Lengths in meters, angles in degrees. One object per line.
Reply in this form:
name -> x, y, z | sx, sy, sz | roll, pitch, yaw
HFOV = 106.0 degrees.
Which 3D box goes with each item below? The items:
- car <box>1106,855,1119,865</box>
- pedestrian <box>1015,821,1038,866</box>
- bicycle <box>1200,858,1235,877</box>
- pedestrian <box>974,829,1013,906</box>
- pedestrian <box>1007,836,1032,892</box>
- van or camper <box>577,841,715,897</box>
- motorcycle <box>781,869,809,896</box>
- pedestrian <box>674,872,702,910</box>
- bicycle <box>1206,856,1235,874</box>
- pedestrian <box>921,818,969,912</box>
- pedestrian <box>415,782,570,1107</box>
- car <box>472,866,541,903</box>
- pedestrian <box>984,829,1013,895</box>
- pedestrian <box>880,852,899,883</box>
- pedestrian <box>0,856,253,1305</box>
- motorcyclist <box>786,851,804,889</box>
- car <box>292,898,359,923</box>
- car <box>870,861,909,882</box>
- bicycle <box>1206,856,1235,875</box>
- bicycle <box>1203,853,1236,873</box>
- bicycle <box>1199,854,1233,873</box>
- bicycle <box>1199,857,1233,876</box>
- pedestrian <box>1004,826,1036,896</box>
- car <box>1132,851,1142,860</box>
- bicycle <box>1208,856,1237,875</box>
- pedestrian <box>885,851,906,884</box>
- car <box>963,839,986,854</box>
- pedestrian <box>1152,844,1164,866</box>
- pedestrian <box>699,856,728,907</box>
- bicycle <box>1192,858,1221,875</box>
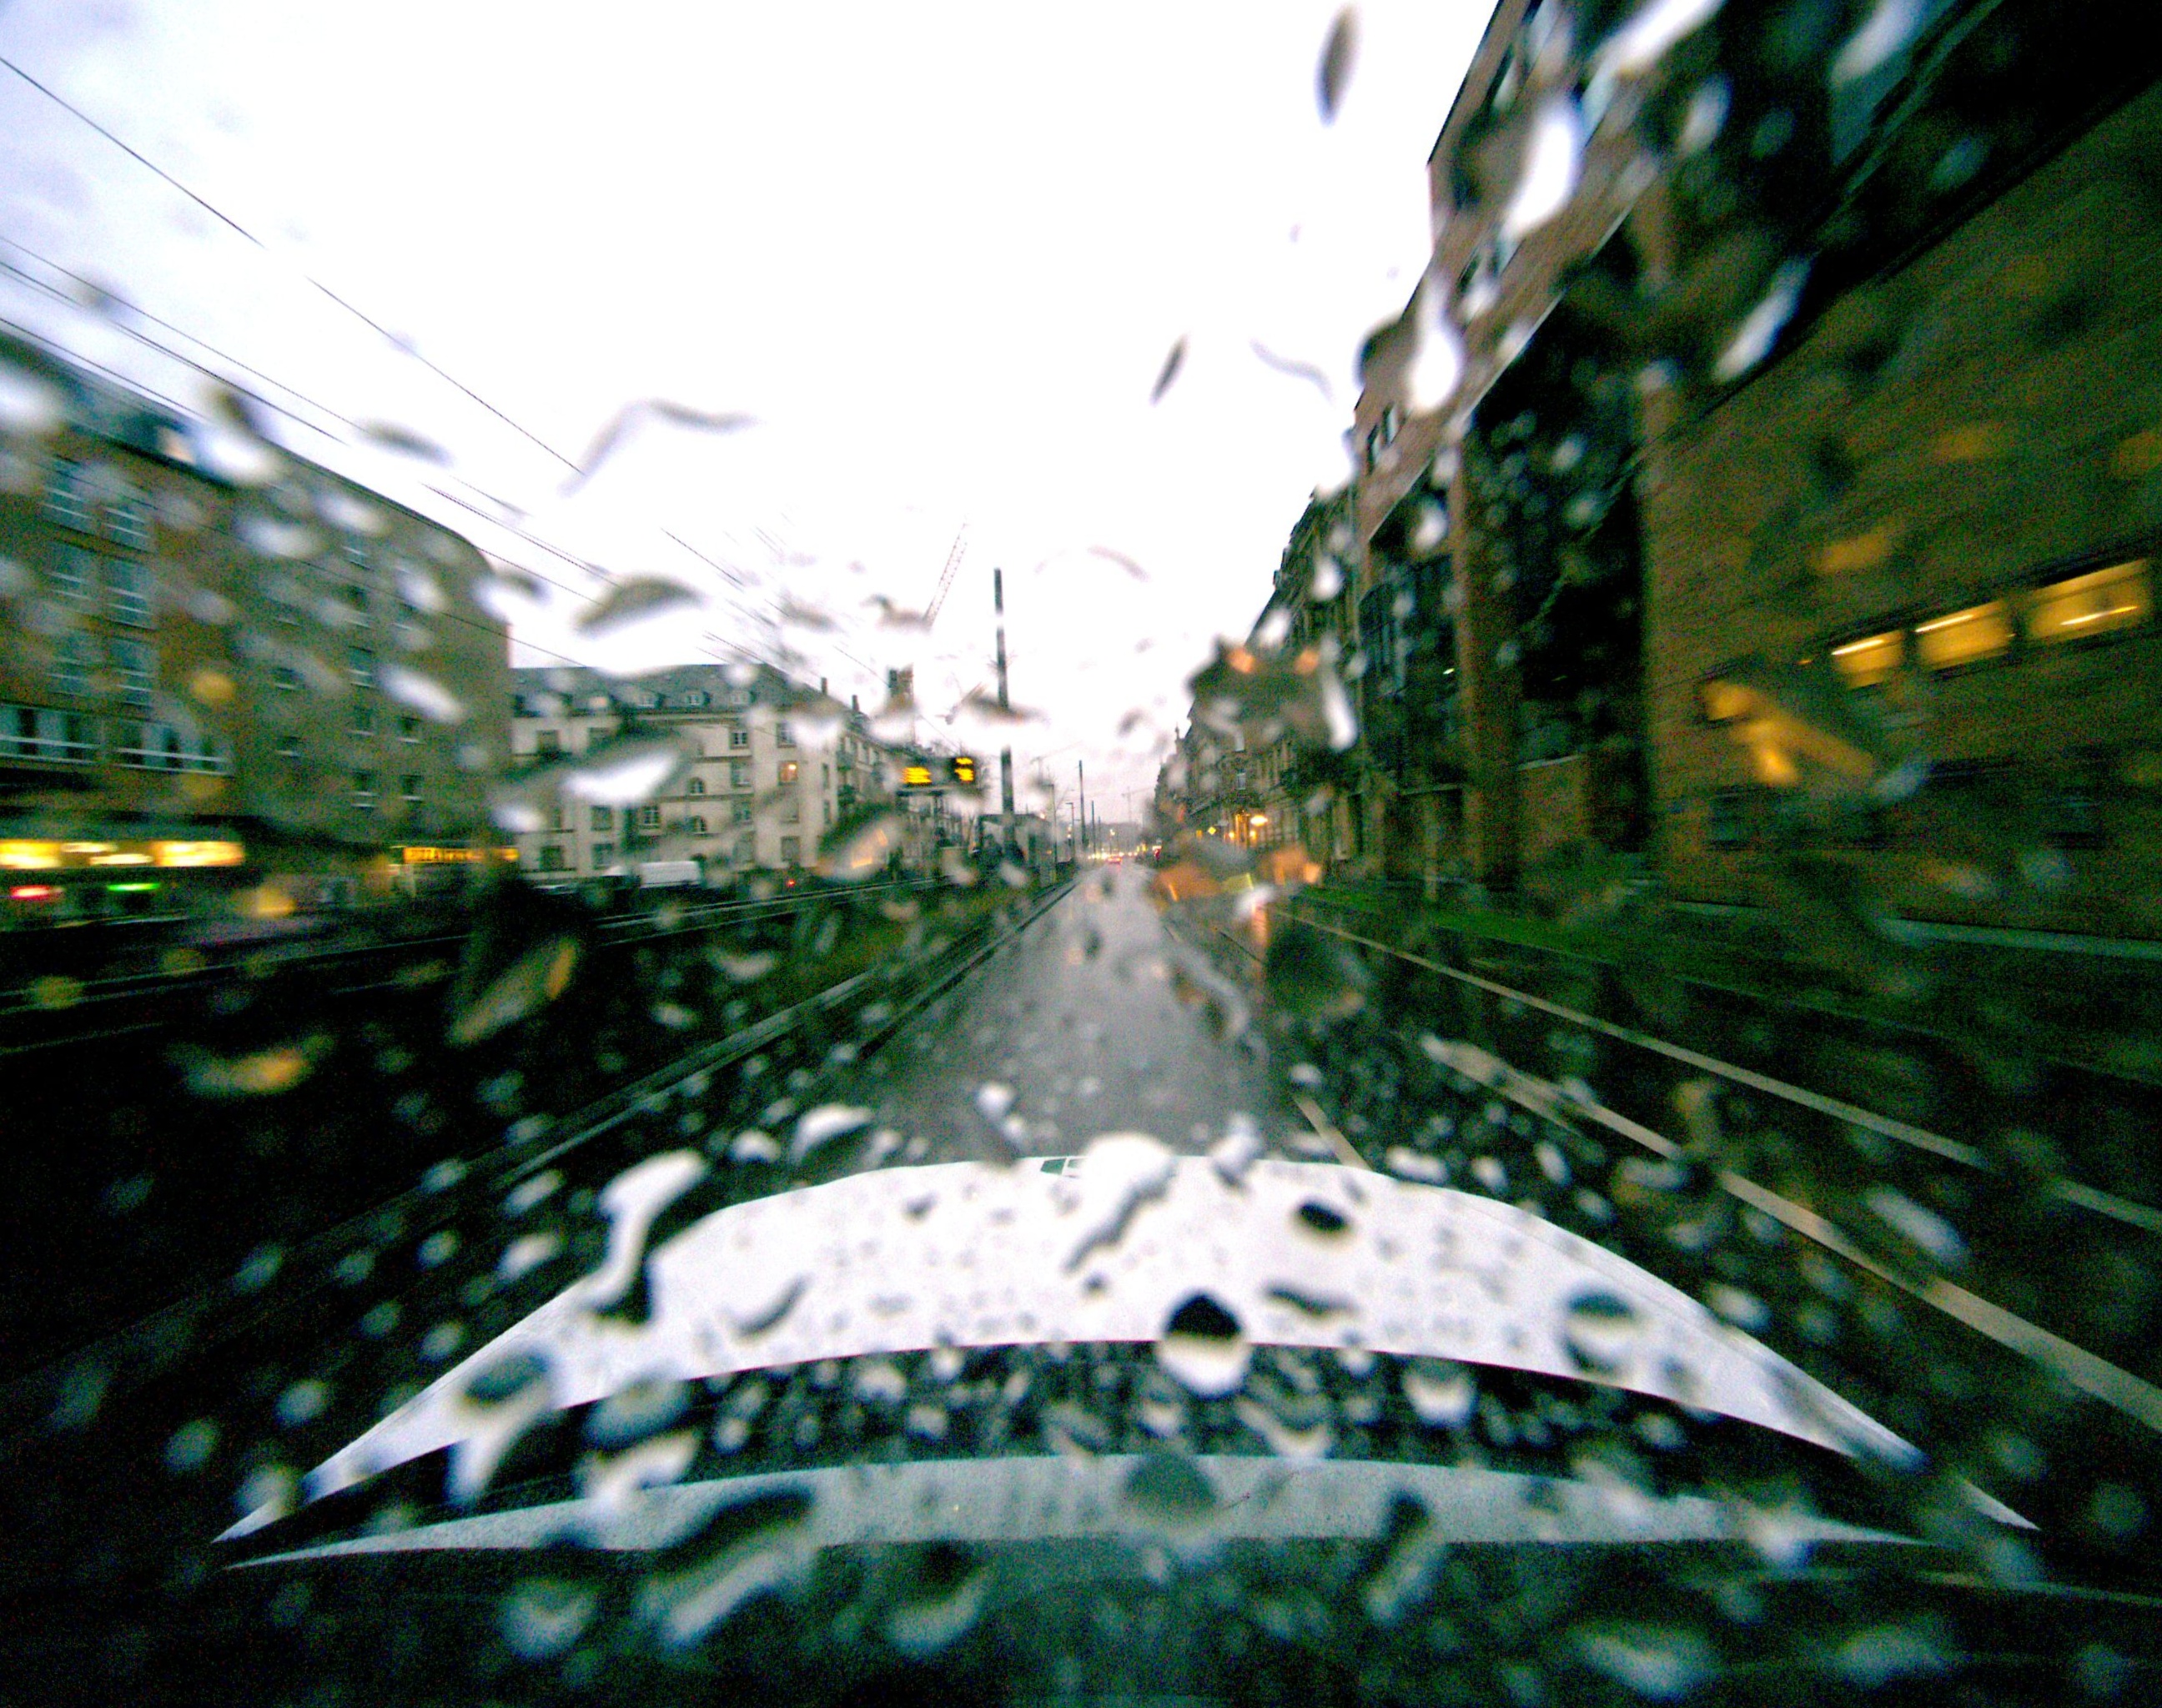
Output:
car -> 5.039, 0.975, 129.292 | 1.776, 1.467, 3.152 | -3, 0, 4
pedestrian -> -1.871, -0.363, 28.035 | 0.680, 1.516, 0.616 | -2, 0, -10
bicycle -> 8.954, 0.899, 53.464 | 2.136, 1.055, 0.425 | -5, 1, 0
pedestrian -> -2.282, 0.346, 21.387 | 0.806, 1.947, 0.805 | -2, 0, 3
pedestrian -> -2.378, 0.389, 31.540 | 0.807, 2.110, 0.804 | -2, 0, -1
van or camper -> -22.810, 0.721, 43.179 | 2.755, 2.682, 6.774 | -1, 0, 11
motorcycle -> -11.447, 1.117, 32.670 | 0.511, 1.008, 1.806 | -1, 0, -1
pedestrian -> -11.911, 1.110, 24.706 | 0.612, 1.103, 0.584 | -1, 0, -42
bicycle -> 8.805, 0.698, 51.423 | 1.724, 1.055, 0.371 | -4, 0, 0
pedestrian -> -2.578, 0.202, 15.391 | 0.778, 1.704, 0.769 | -2, 0, -16
pedestrian -> -3.346, 0.468, 4.682 | 0.650, 1.704, 0.562 | -2, -1, -33
car -> -35.132, 1.808, 49.934 | 1.742, 2.034, 4.131 | -3, 0, -9
pedestrian -> -2.708, 0.273, 26.834 | 0.807, 2.110, 0.804 | -2, 0, -1
pedestrian -> -11.194, 0.772, 47.654 | 0.802, 1.780, 0.813 | -1, 0, -40
pedestrian -> -4.095, 0.863, 3.412 | 0.538, 1.692, 0.643 | -2, -1, 0
motorcyclist -> -11.455, 0.643, 32.595 | 0.497, 1.496, 0.556 | -1, 0, -3
car -> -51.884, 3.865, 56.002 | 1.450, 1.425, 3.313 | -3, 0, -2
car -> -12.951, 1.157, 55.169 | 1.675, 1.354, 3.547 | -2, 0, 1
bicycle -> 8.701, 0.694, 50.826 | 1.724, 1.055, 0.371 | -4, 0, 0
bicycle -> 8.878, 0.574, 52.257 | 2.001, 1.095, 0.425 | -5, 0, 0
bicycle -> 8.934, 0.627, 54.027 | 2.136, 1.055, 0.484 | -4, 0, 0
bicycle -> 9.147, 0.849, 55.302 | 2.137, 1.055, 0.425 | -5, 1, 0
pedestrian -> -1.902, 0.216, 25.364 | 0.806, 2.110, 0.805 | -2, 0, 3
car -> 10.837, 0.227, 158.497 | 1.790, 1.604, 3.775 | -3, 0, 5
bicycle -> 8.741, 0.689, 50.323 | 1.724, 1.055, 0.371 | -4, 0, 0
pedestrian -> -10.466, 0.755, 45.938 | 0.802, 1.780, 0.813 | -1, 0, -40
car -> -10.281, -0.690, 79.046 | 1.675, 1.354, 3.547 | -2, 0, 1
pedestrian -> 7.261, 0.065, 76.798 | 0.907, 2.013, 0.860 | -3, 0, 21
pedestrian -> -11.229, 0.826, 24.876 | 0.639, 1.524, 0.747 | -1, 0, -40
bicycle -> 8.903, 0.884, 57.787 | 2.097, 1.052, 0.474 | -4, 0, -24
